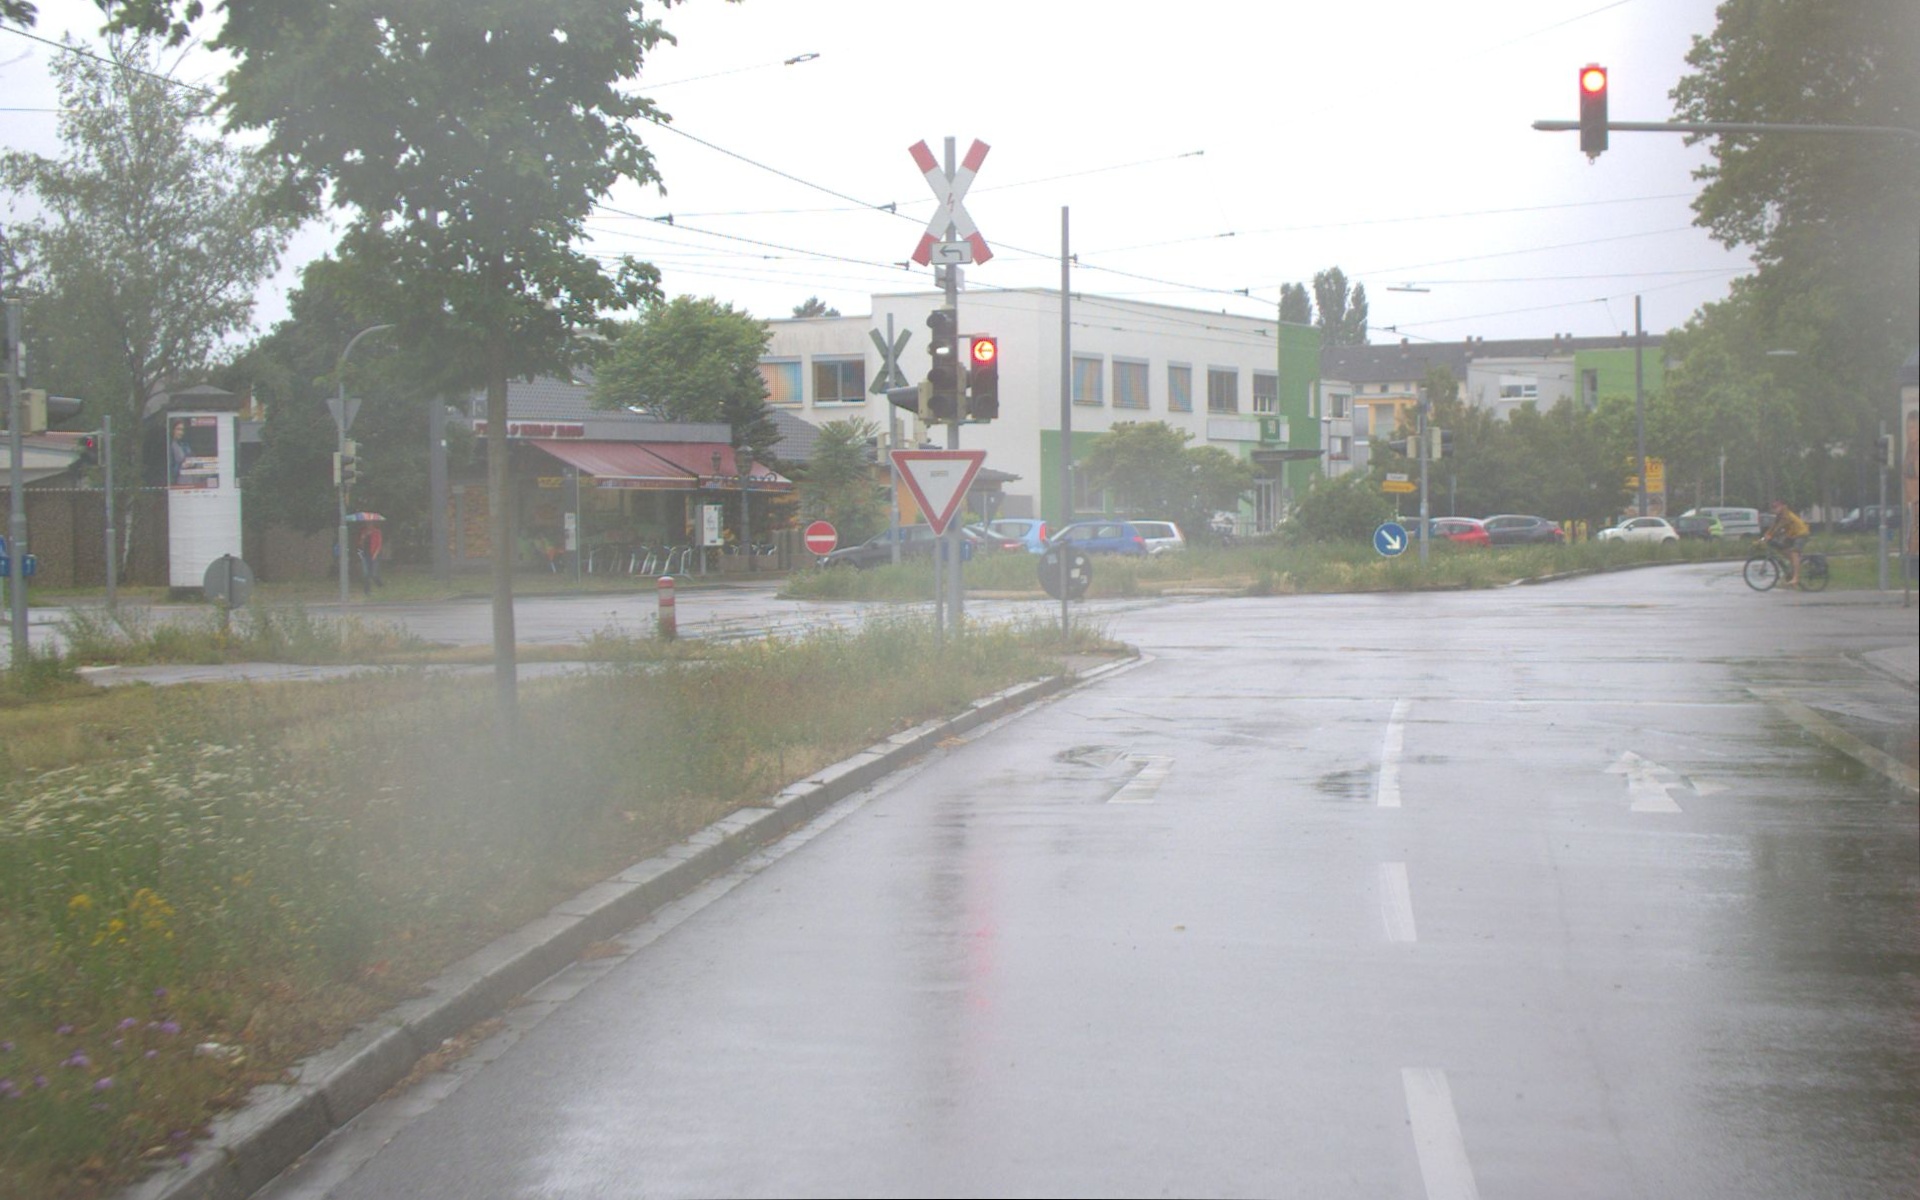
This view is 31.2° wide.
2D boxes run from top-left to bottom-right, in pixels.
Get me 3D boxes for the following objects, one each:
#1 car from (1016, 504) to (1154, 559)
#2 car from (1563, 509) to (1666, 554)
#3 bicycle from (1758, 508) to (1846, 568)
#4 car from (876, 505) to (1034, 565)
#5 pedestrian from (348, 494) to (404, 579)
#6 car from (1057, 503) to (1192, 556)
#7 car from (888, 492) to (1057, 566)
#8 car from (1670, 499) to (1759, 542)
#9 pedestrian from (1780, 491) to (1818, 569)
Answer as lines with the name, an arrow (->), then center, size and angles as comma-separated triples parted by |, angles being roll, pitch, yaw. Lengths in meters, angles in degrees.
car -> 3.433, -1.903, 95.113 | 3.750, 1.437, 1.763 | -1, 1, 1
car -> 28.326, -2.949, 148.913 | 4.135, 1.853, 1.673 | -1, 1, 3
bicycle -> 16.109, -1.187, 65.782 | 1.561, 1.098, 0.500 | -1, 1, 1
car -> -0.116, -1.638, 87.099 | 3.752, 1.437, 1.762 | -1, 1, 10
pedestrian -> -12.211, -1.327, 71.874 | 0.800, 1.757, 0.909 | -2, 1, -37
car -> 4.683, -2.016, 98.261 | 3.750, 1.437, 1.763 | -1, 1, 1
car -> 0.347, -1.864, 90.520 | 4.137, 1.853, 1.672 | -1, 1, 14
car -> 36.407, -3.824, 165.873 | 4.137, 1.969, 1.672 | -1, 1, 14
pedestrian -> 16.052, -1.340, 65.775 | 0.576, 1.470, 0.500 | -1, 1, 1
